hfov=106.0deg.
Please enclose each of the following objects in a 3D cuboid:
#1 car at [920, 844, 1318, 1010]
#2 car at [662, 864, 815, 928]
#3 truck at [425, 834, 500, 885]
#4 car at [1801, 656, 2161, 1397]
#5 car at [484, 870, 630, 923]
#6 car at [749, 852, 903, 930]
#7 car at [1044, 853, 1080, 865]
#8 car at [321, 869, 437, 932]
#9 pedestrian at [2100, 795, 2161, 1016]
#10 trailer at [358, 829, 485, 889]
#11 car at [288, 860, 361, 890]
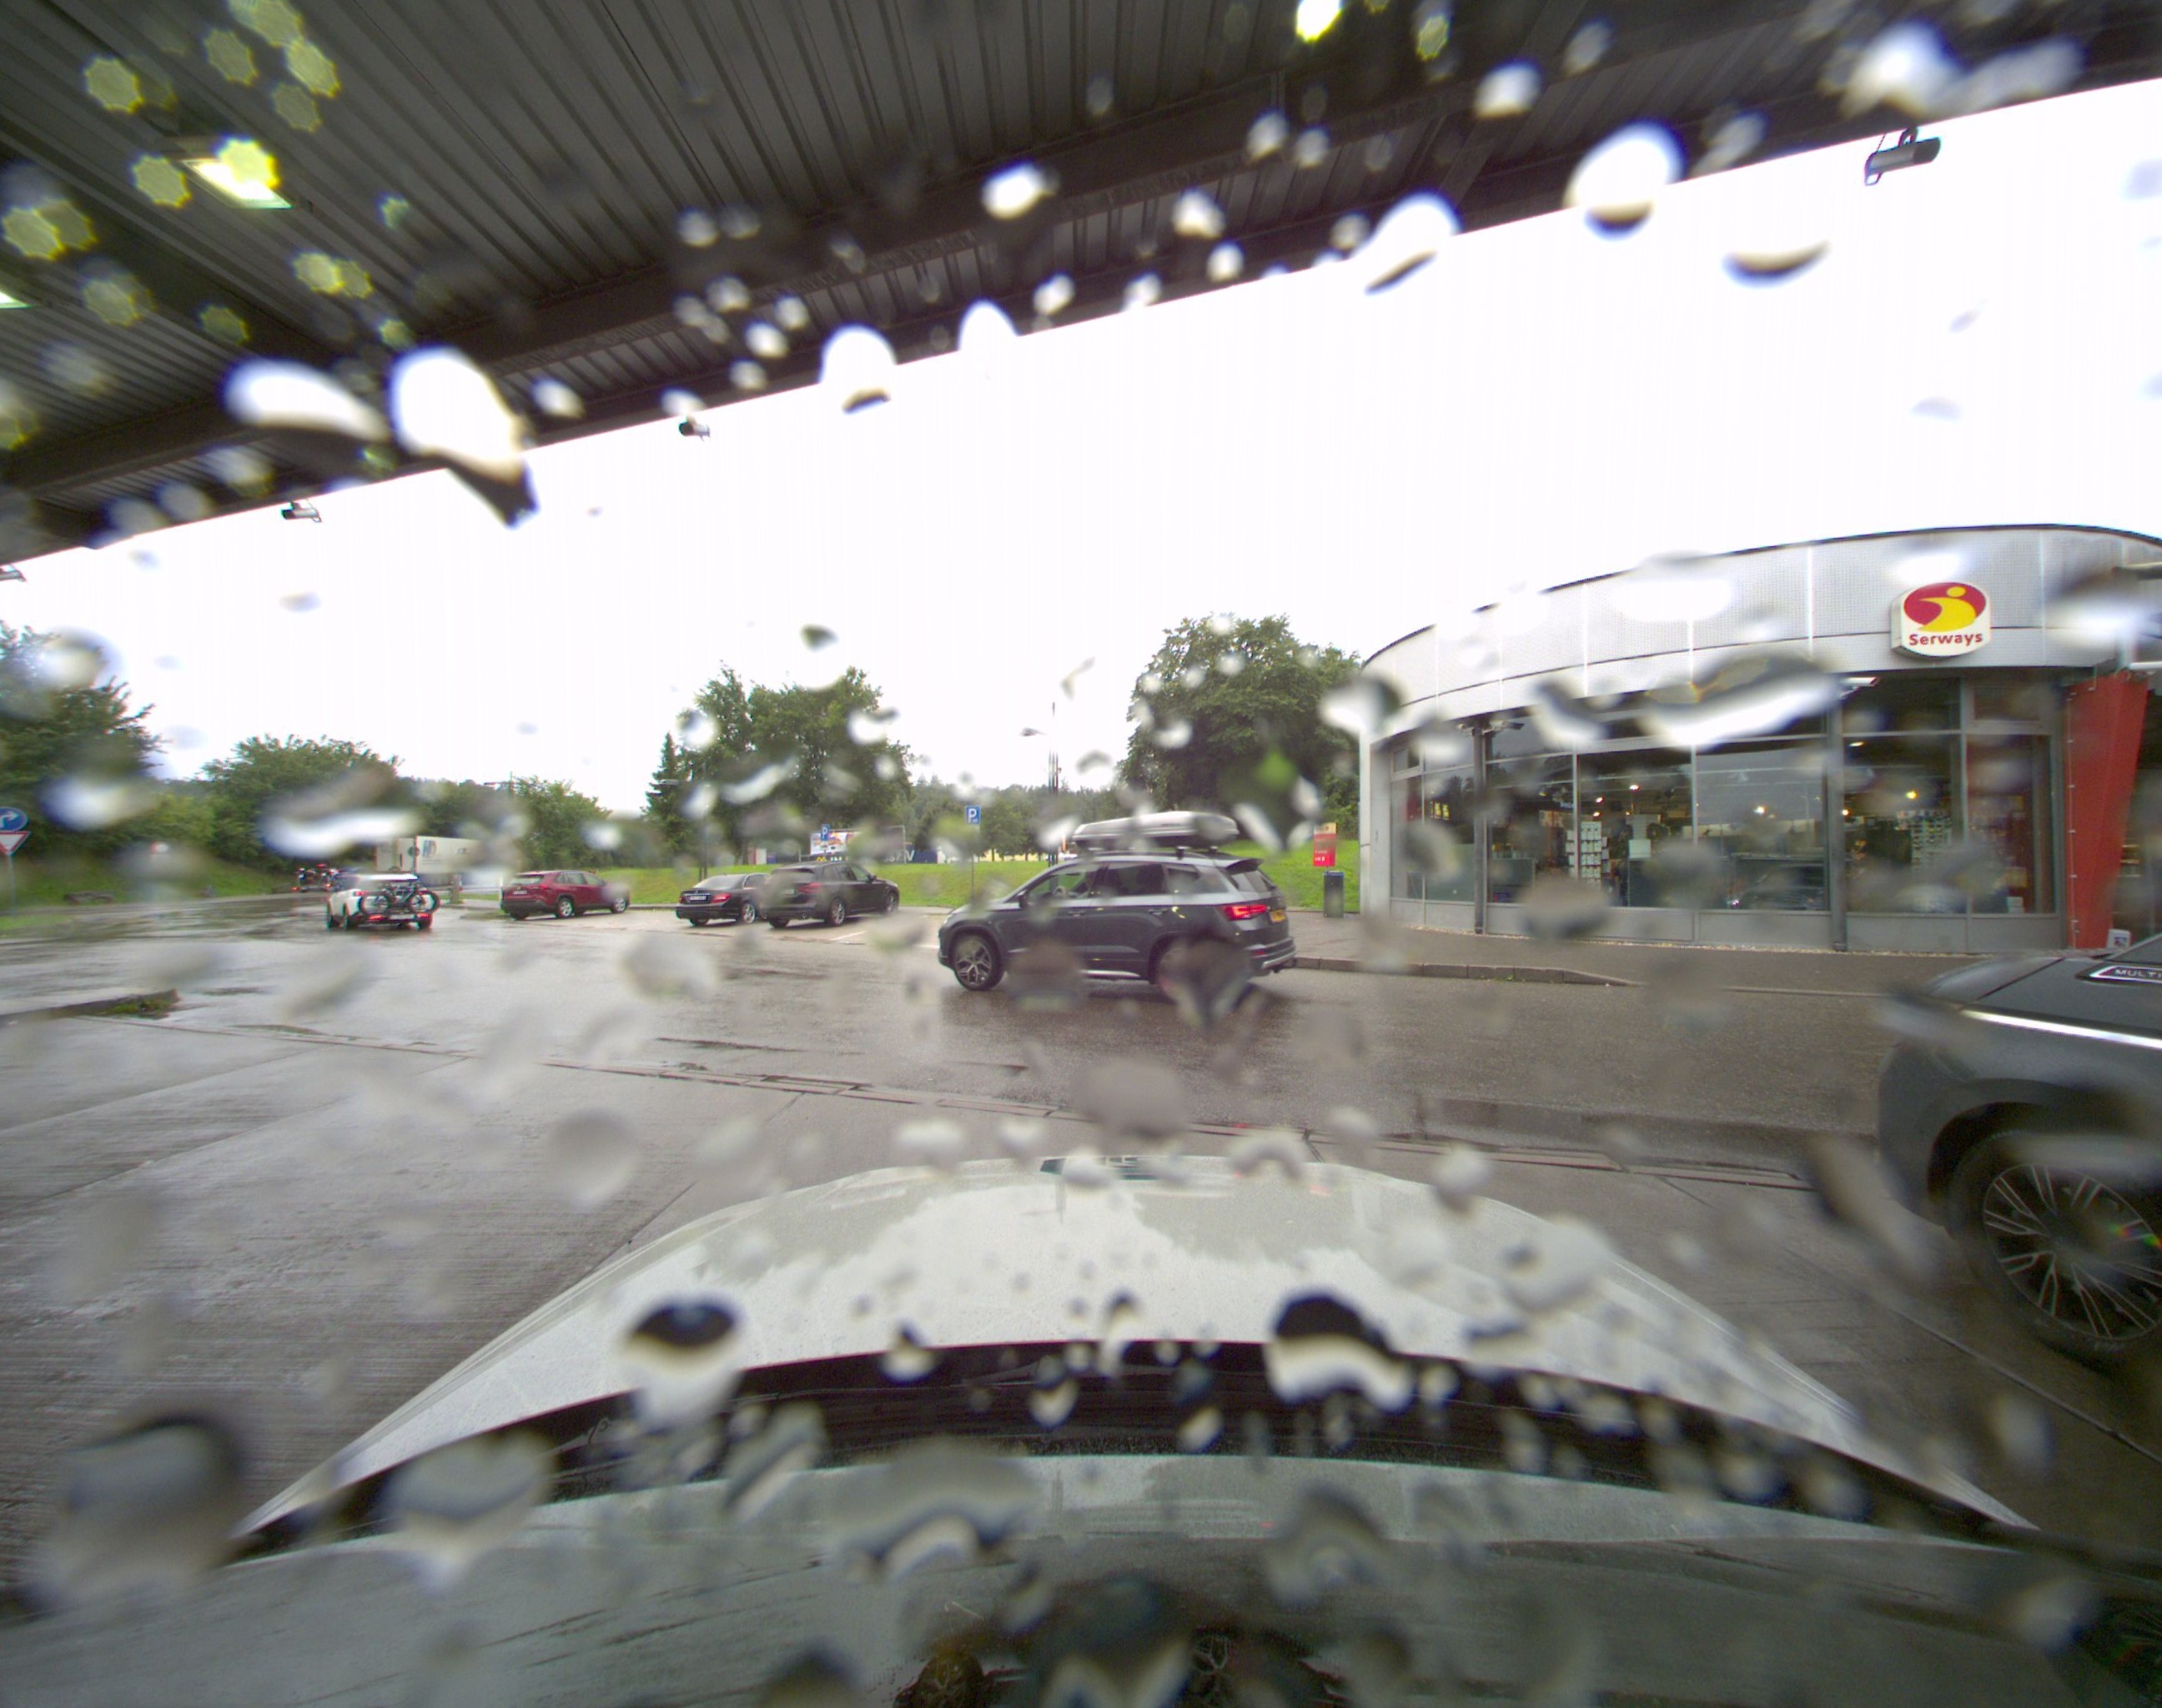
[{"bbox_3d":[0.405,0.707,9.637,4.271,1.587,1.902,-1,0,29],"label":"car"},{"bbox_3d":[-9.620,1.142,23.284,1.871,1.565,4.200,-2,0,13],"label":"car"},{"bbox_3d":[-57.107,0.513,75.411,3.467,4.557,6.694,0,-1,-18],"label":"truck"},{"bbox_3d":[3.711,0.447,1.215,1.809,1.948,4.002,-1,0,2],"label":"car"},{"bbox_3d":[-18.160,1.422,28.509,1.873,1.596,4.364,-2,0,8],"label":"car"},{"bbox_3d":[-6.619,0.892,21.727,1.871,1.828,4.429,-2,0,13],"label":"car"},{"bbox_3d":[-3.174,0.809,134.064,5.376,2.013,2.468,-1,0,21],"label":"car"},{"bbox_3d":[-20.082,1.232,23.230,4.940,1.565,1.831,-1,0,41],"label":"car"},{"bbox_3d":[9.600,0.440,6.881,0.712,1.894,1.009,-1,0,4],"label":"pedestrian"},{"bbox_3d":[-54.885,0.438,68.471,3.466,4.557,13.827,0,-1,-18],"label":"trailer"},{"bbox_3d":[-49.234,1.307,53.100,1.934,1.838,4.361,-1,0,-20],"label":"car"}]
